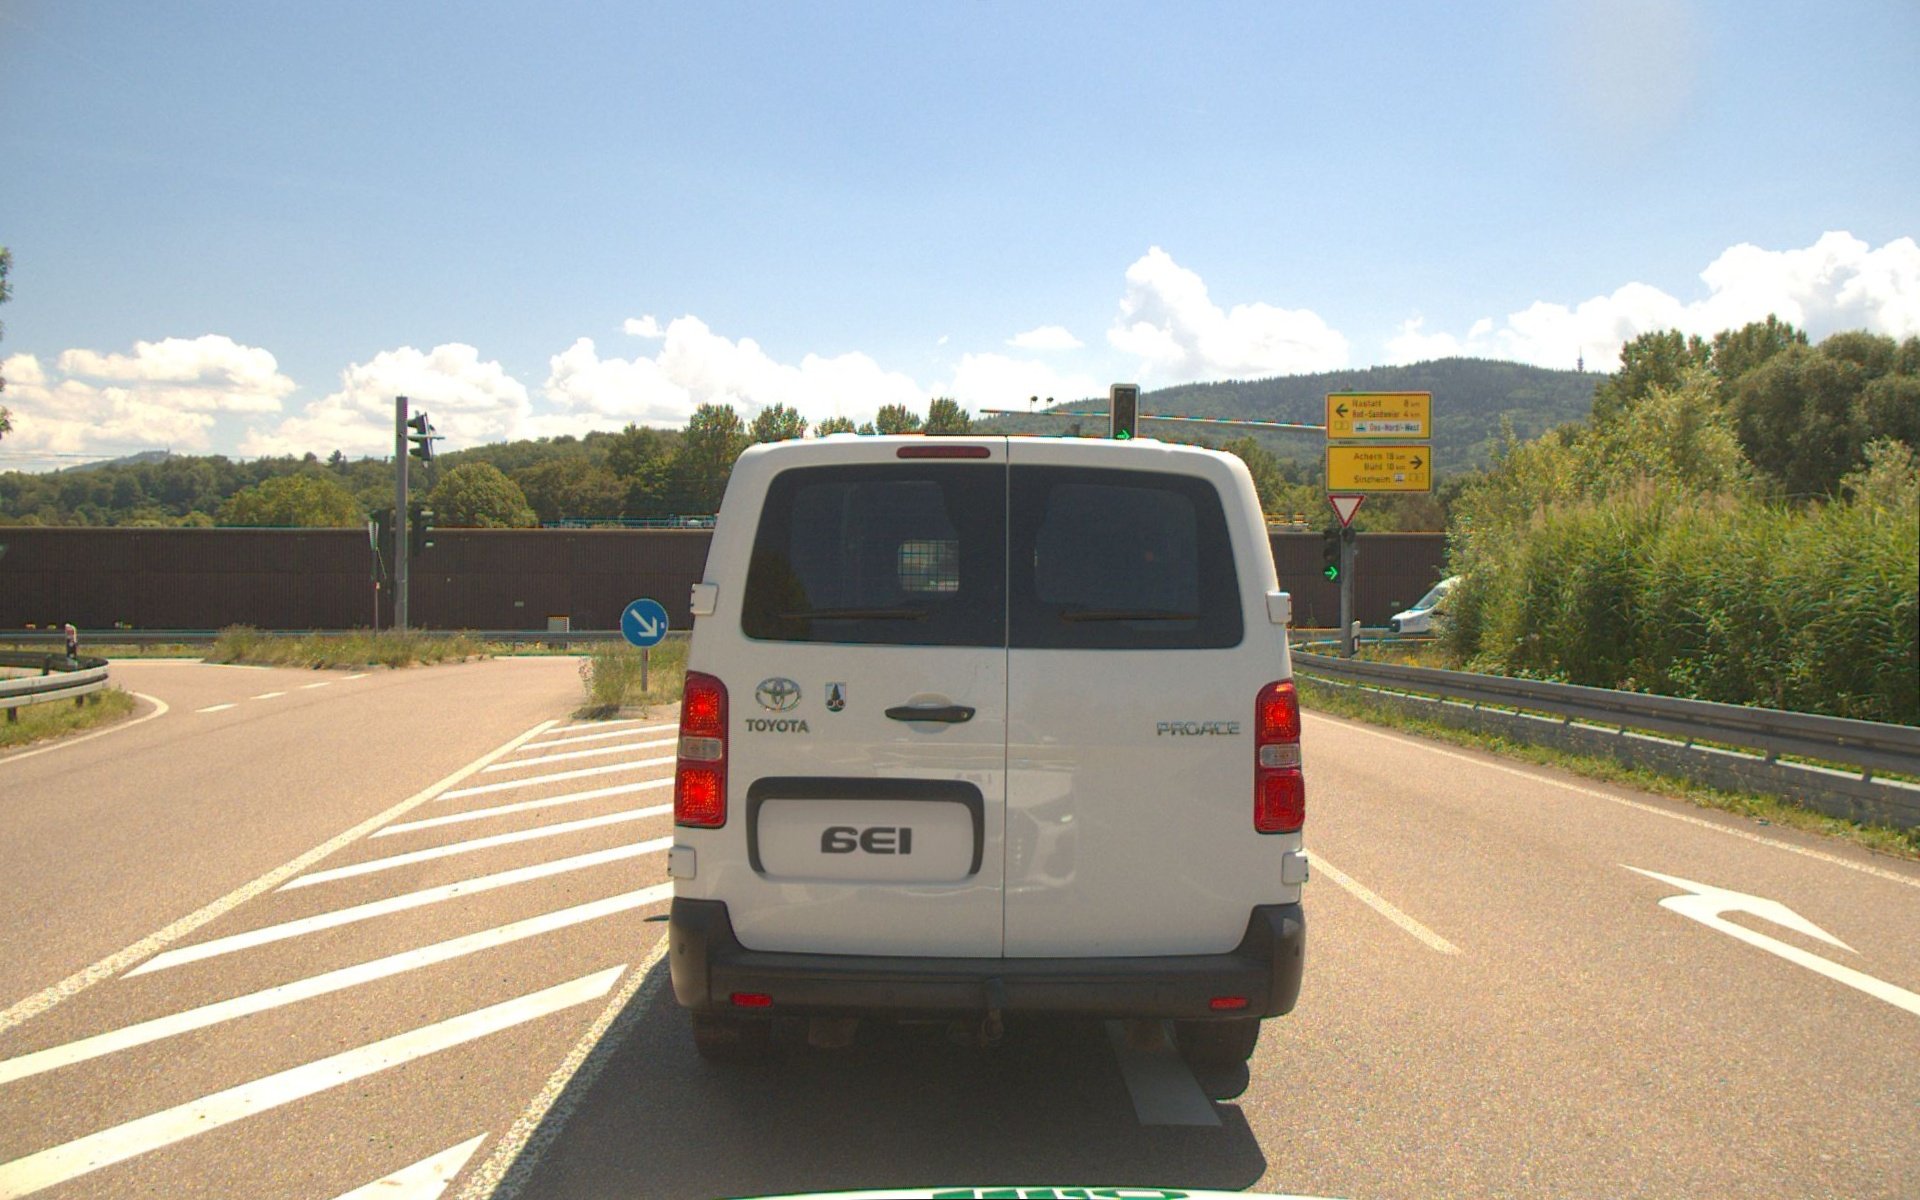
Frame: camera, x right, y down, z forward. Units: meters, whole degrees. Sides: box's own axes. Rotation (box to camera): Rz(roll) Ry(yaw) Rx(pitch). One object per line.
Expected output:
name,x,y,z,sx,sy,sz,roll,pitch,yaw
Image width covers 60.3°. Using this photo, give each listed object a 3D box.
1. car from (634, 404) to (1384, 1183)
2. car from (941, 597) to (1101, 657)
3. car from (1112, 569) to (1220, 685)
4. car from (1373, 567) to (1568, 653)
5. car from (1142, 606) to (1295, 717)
car,0.084,0.497,6.121,1.848,1.919,3.999,1,0,-1
car,1.762,0.776,48.055,4.243,1.685,1.990,0,0,-18
car,3.909,0.498,31.868,1.888,2.035,4.840,1,0,6
car,15.327,0.301,49.823,5.238,2.493,2.038,0,0,-3
car,3.625,0.822,23.714,1.622,1.456,3.365,1,0,-1
